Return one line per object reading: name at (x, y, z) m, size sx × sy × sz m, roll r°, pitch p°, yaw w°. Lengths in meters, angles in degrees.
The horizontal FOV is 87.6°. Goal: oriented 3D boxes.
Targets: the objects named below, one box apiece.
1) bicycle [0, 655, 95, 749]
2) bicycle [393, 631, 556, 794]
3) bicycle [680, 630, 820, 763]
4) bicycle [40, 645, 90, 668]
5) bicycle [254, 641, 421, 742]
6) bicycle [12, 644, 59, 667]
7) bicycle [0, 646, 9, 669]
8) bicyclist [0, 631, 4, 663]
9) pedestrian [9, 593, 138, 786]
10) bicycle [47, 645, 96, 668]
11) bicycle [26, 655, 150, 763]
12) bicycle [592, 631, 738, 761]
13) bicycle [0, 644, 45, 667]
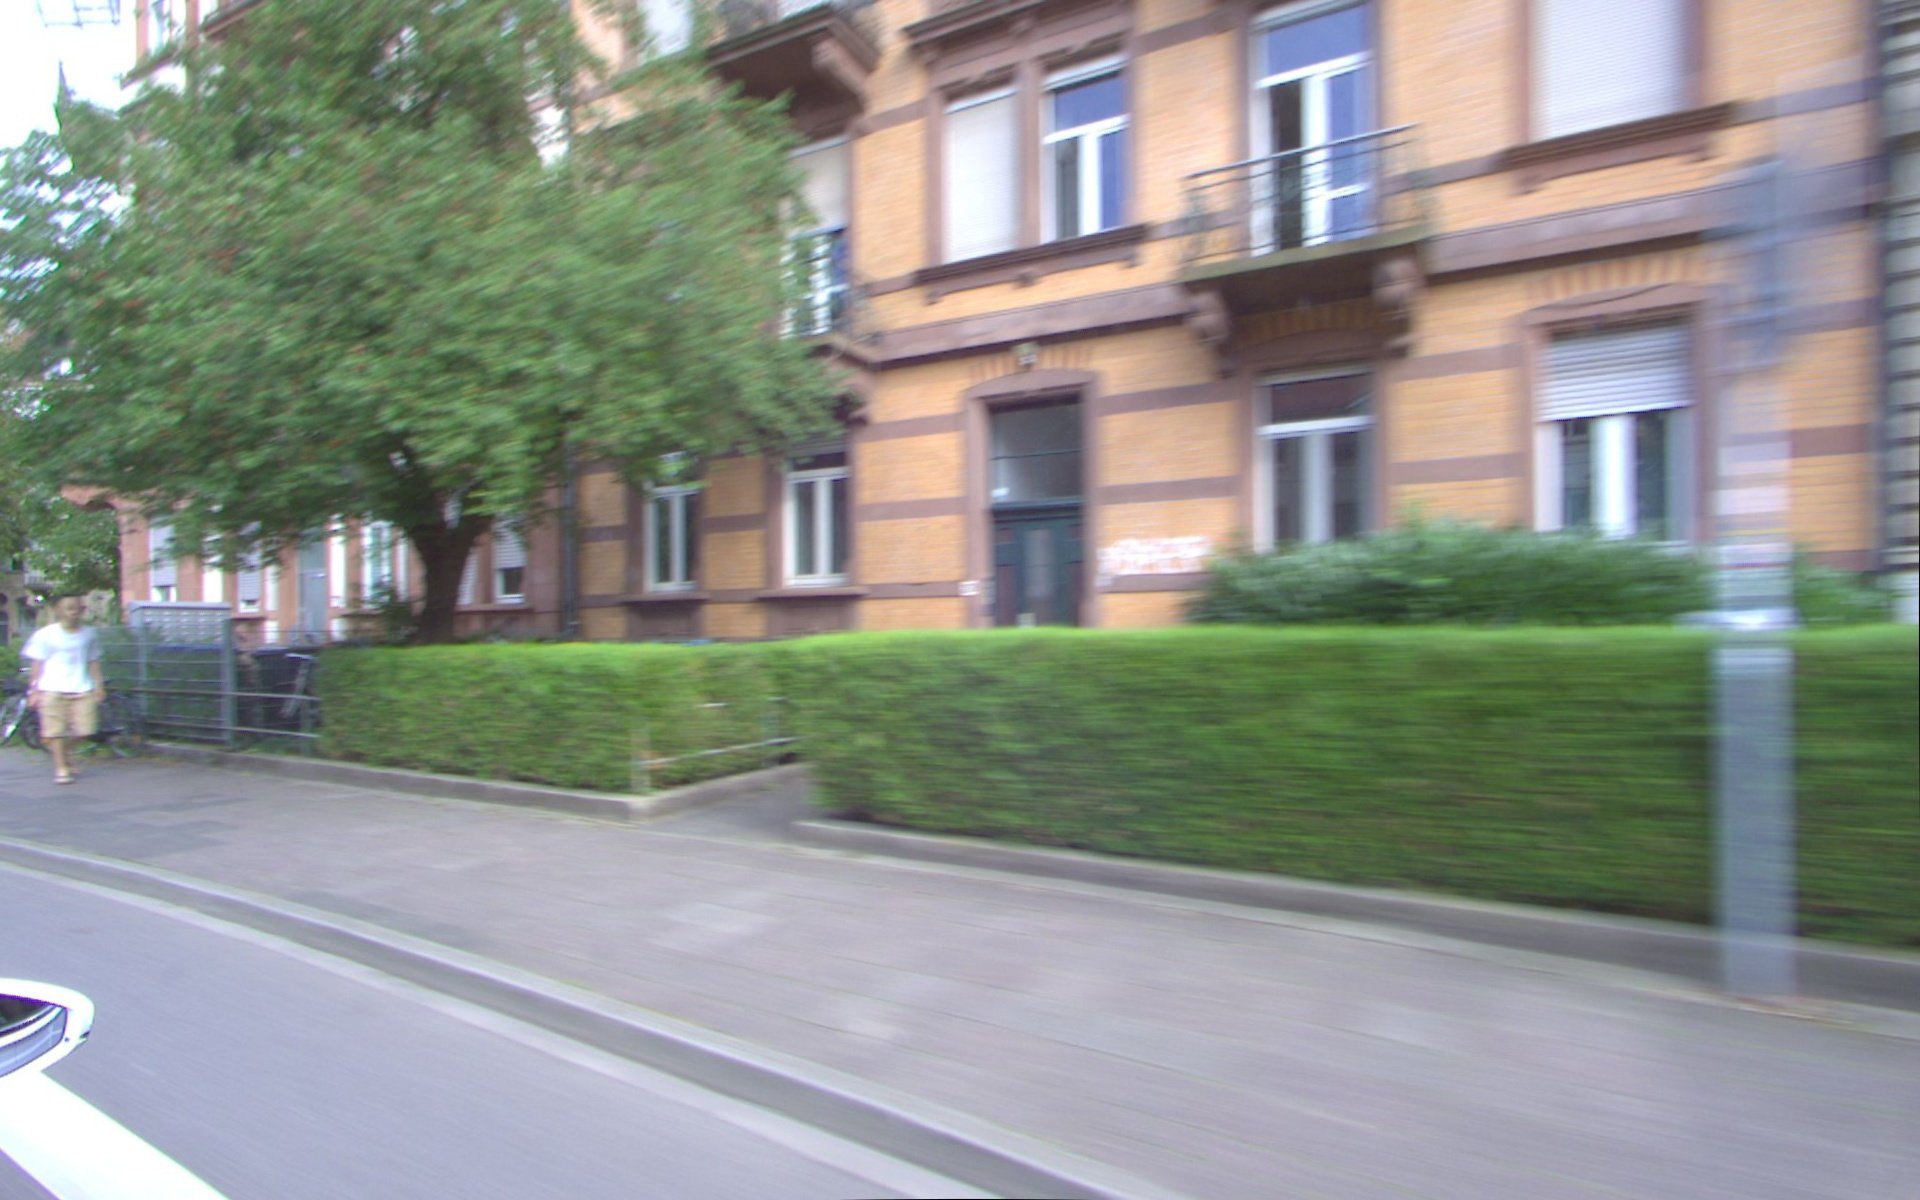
bicycle at (-11.976, 1.288, 12.943) m, size 1.646 × 1.120 × 0.670 m, roll -1°, pitch -1°, yaw 29°
bicycle at (-4.190, 0.917, 8.614) m, size 1.527 × 1.298 × 0.515 m, roll -1°, pitch -1°, yaw 31°
bicycle at (-2.035, 0.900, 9.896) m, size 0.509 × 1.196 × 1.544 m, roll -1°, pitch -1°, yaw 26°
bicycle at (-46.879, 2.941, 52.458) m, size 0.524 × 1.142 × 1.888 m, roll -1°, pitch -1°, yaw 25°
bicycle at (-6.895, 0.979, 11.166) m, size 0.502 × 1.022 × 1.544 m, roll -1°, pitch -1°, yaw 26°
bicycle at (-48.658, 2.927, 52.729) m, size 0.583 × 1.142 × 1.894 m, roll -1°, pitch -1°, yaw 6°
bicycle at (-46.452, 2.760, 48.012) m, size 1.791 × 1.090 × 0.615 m, roll -1°, pitch -1°, yaw 24°
bicyclist at (-46.462, 2.262, 48.023) m, size 0.900 × 1.492 × 0.615 m, roll -1°, pitch -1°, yaw 23°
pedestrian at (-8.663, 0.837, 9.790) m, size 0.936 × 1.776 × 0.729 m, roll -1°, pitch -1°, yaw 33°
bicycle at (-46.335, 2.937, 52.253) m, size 0.524 × 1.142 × 1.888 m, roll -1°, pitch -1°, yaw 25°
bicycle at (-9.828, 1.195, 11.279) m, size 1.526 × 1.103 × 0.508 m, roll -1°, pitch 2°, yaw 29°
bicycle at (-2.945, 0.917, 10.147) m, size 0.509 × 1.196 × 1.544 m, roll -1°, pitch -1°, yaw 26°
bicycle at (-49.538, 2.936, 52.831) m, size 0.571 × 1.142 × 1.893 m, roll -1°, pitch -1°, yaw 11°
